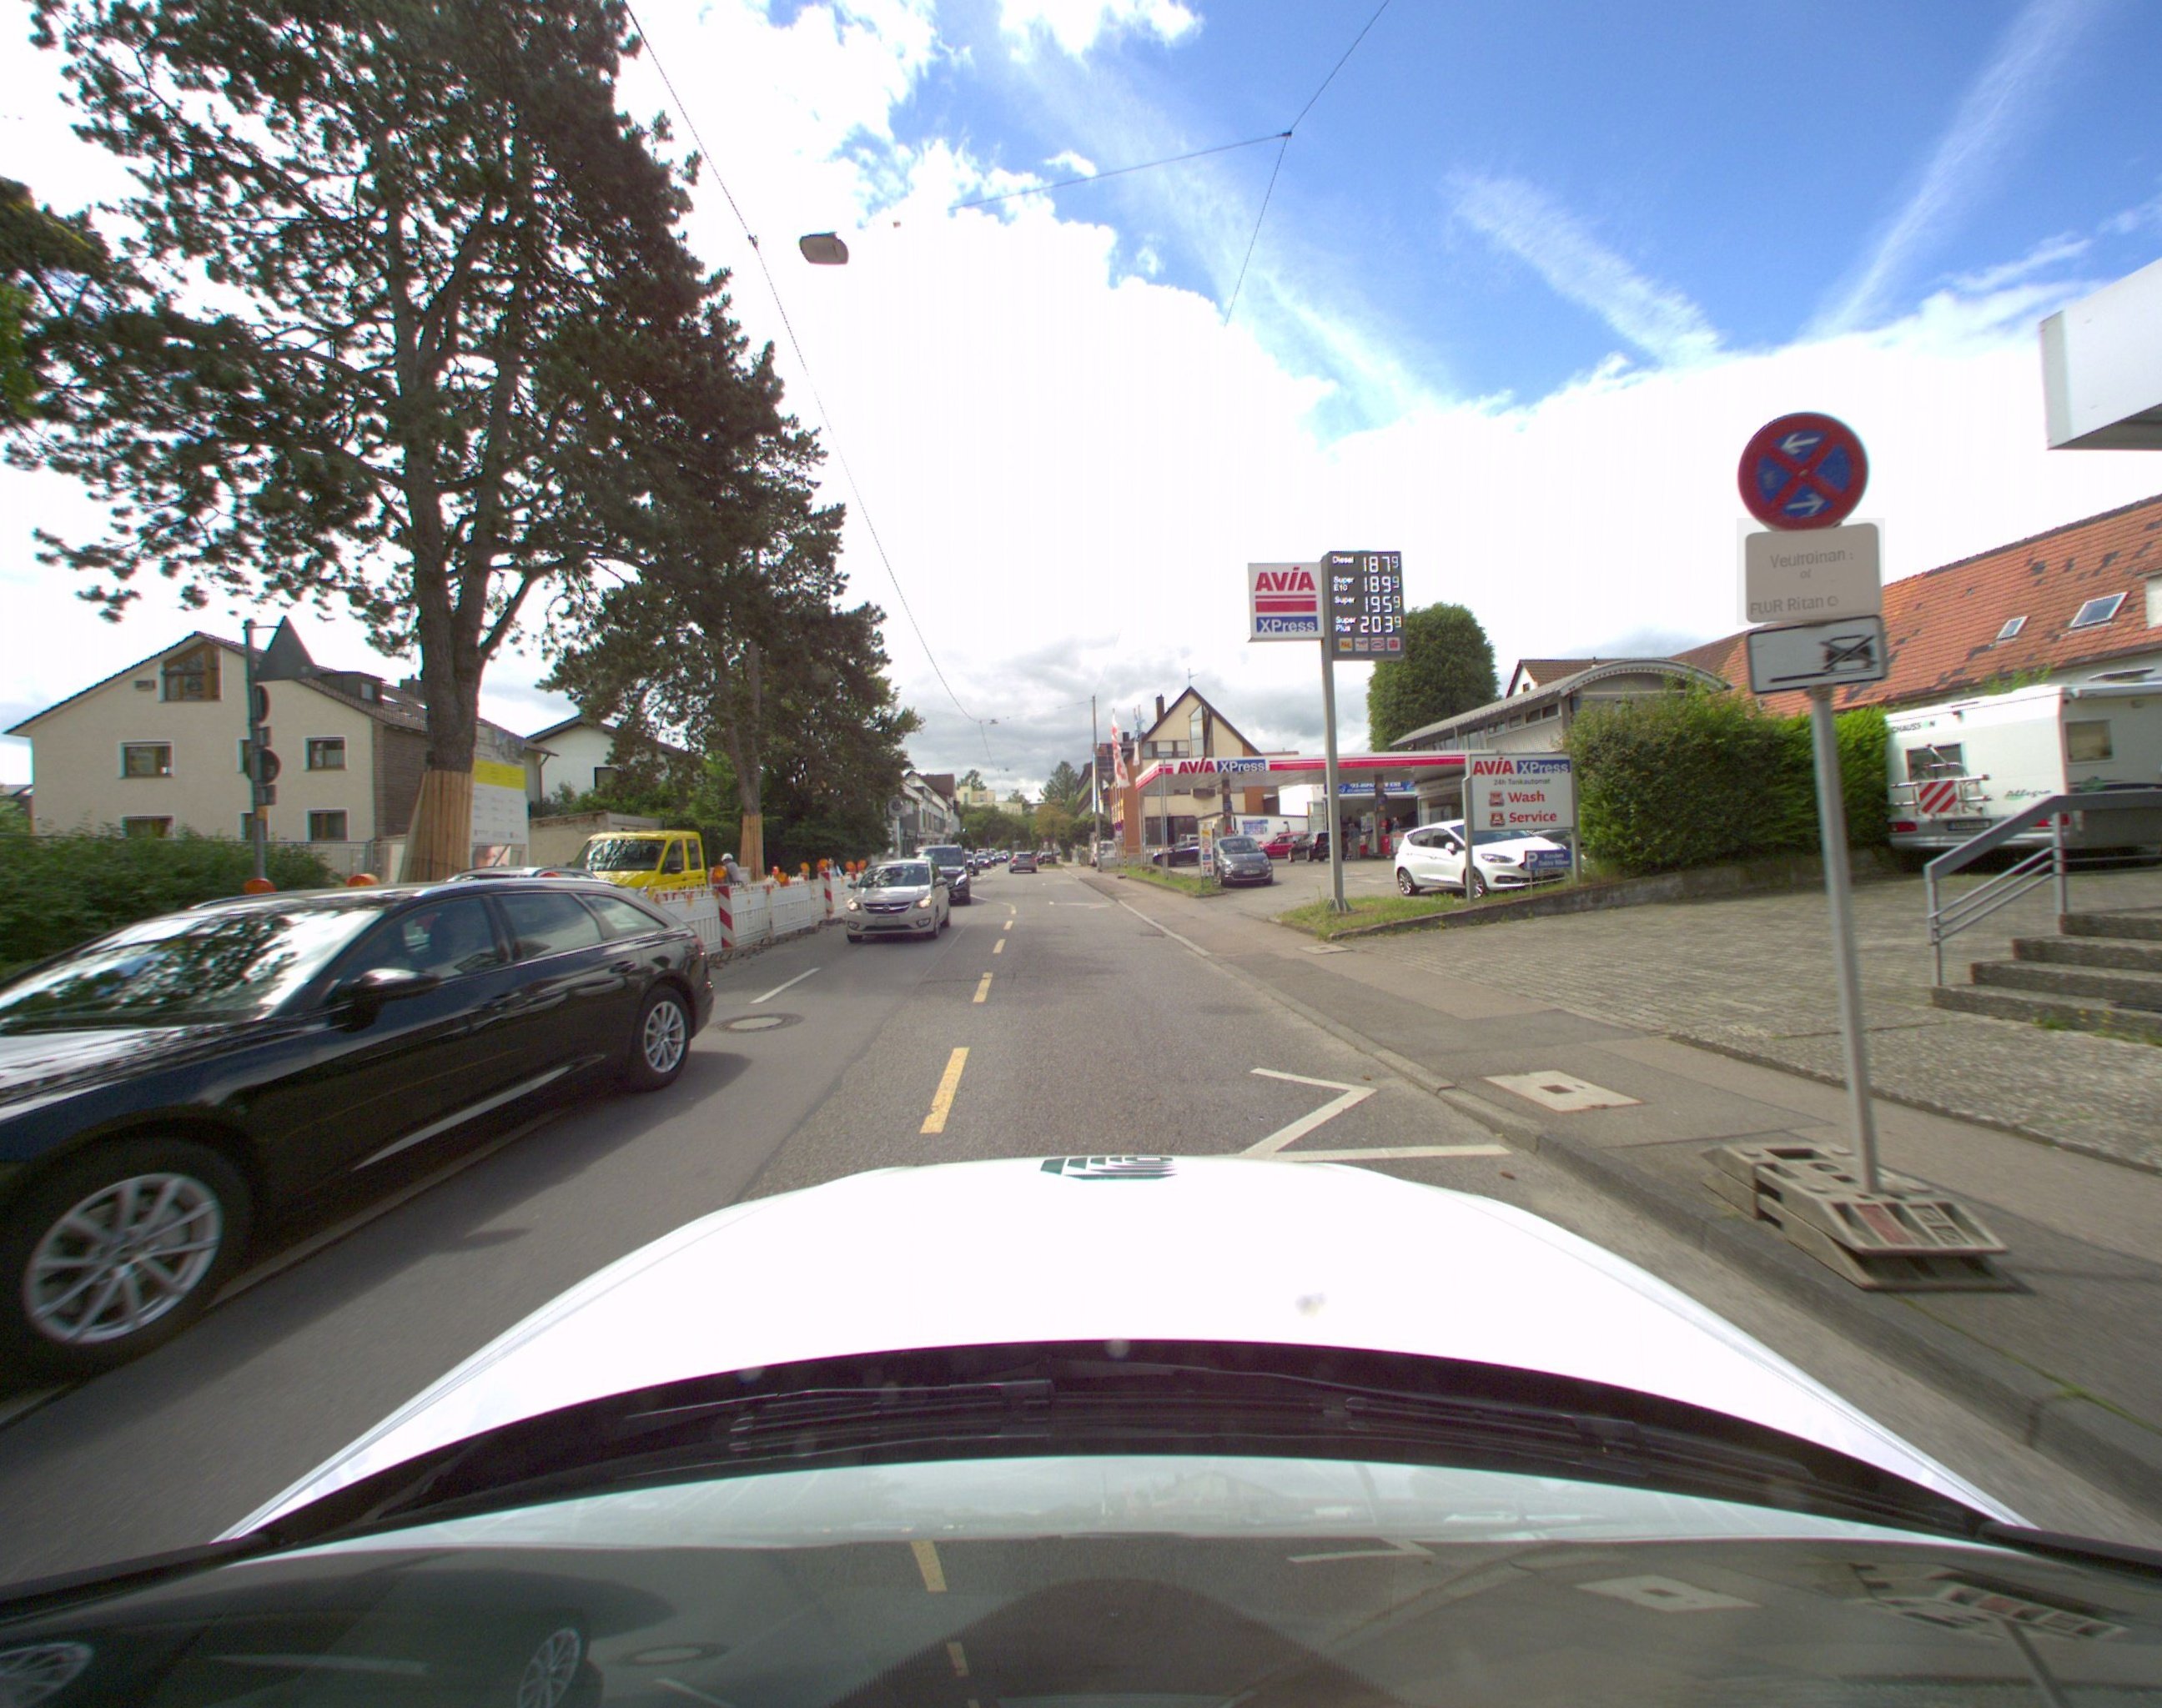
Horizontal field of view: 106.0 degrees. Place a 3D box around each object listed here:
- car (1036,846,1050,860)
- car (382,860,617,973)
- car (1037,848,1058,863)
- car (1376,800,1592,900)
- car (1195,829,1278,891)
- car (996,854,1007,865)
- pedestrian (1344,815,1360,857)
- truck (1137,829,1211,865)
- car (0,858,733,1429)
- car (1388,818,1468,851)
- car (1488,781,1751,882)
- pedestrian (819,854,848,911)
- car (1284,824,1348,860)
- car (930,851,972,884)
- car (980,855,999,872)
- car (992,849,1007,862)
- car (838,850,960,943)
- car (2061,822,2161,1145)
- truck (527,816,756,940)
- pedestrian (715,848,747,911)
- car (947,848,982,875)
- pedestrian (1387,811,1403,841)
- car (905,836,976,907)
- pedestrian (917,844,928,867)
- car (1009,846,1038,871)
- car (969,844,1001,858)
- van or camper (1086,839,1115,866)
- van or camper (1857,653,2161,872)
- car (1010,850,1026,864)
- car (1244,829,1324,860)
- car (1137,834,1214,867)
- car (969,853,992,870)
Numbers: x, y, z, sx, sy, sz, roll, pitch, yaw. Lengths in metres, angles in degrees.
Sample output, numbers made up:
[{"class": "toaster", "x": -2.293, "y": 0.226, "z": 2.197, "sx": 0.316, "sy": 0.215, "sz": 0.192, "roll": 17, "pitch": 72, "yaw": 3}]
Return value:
[{"class": "car", "x": -4.833, "y": -0.070, "z": 104.178, "sx": 1.685, "sy": 1.666, "sz": 4.458, "roll": -3, "pitch": 0, "yaw": -2}, {"class": "car", "x": -9.177, "y": 0.890, "z": 13.230, "sx": 1.623, "sy": 1.508, "sz": 3.572, "roll": -1, "pitch": 0, "yaw": -9}, {"class": "car", "x": -3.499, "y": 0.172, "z": 84.730, "sx": 1.980, "sy": 1.448, "sz": 4.745, "roll": -3, "pitch": 0, "yaw": -4}, {"class": "car", "x": 7.598, "y": -0.042, "z": 15.887, "sx": 1.633, "sy": 1.528, "sz": 4.194, "roll": -6, "pitch": 0, "yaw": -7}, {"class": "car", "x": 4.856, "y": 0.162, "z": 25.969, "sx": 1.611, "sy": 1.595, "sz": 4.158, "roll": -8, "pitch": 0, "yaw": -1}, {"class": "car", "x": -12.311, "y": 0.799, "z": 126.385, "sx": 1.687, "sy": 1.579, "sz": 3.793, "roll": -2, "pitch": 0, "yaw": -5}, {"class": "pedestrian", "x": 12.807, "y": -0.844, "z": 38.462, "sx": 0.579, "sy": 1.935, "sz": 0.544, "roll": -2, "pitch": -1, "yaw": 33}, {"class": "truck", "x": 6.835, "y": -0.571, "z": 60.072, "sx": 5.078, "sy": 2.457, "sz": 2.354, "roll": -2, "pitch": 1, "yaw": -4}, {"class": "car", "x": -3.762, "y": 0.849, "z": 4.062, "sx": 1.811, "sy": 1.523, "sz": 4.564, "roll": -4, "pitch": 0, "yaw": 3}, {"class": "car", "x": 19.479, "y": -1.118, "z": 45.788, "sx": 3.733, "sy": 1.440, "sz": 1.620, "roll": -5, "pitch": 4, "yaw": -2}, {"class": "car", "x": 10.309, "y": -0.361, "z": 16.147, "sx": 1.710, "sy": 1.542, "sz": 4.647, "roll": -6, "pitch": 0, "yaw": -5}, {"class": "pedestrian", "x": -7.140, "y": 0.820, "z": 23.488, "sx": 0.564, "sy": 1.601, "sz": 0.540, "roll": -2, "pitch": -1, "yaw": 40}, {"class": "car", "x": 11.440, "y": -0.527, "z": 39.941, "sx": 1.626, "sy": 1.608, "sz": 4.567, "roll": -2, "pitch": -1, "yaw": -2}, {"class": "car", "x": -6.604, "y": 0.641, "z": 41.081, "sx": 1.866, "sy": 1.527, "sz": 4.511, "roll": -3, "pitch": 0, "yaw": -11}, {"class": "car", "x": -10.022, "y": 1.030, "z": 89.156, "sx": 1.828, "sy": 1.630, "sz": 4.314, "roll": -2, "pitch": 1, "yaw": -4}, {"class": "car", "x": -10.817, "y": 0.203, "z": 107.774, "sx": 1.829, "sy": 1.523, "sz": 4.161, "roll": -2, "pitch": 0, "yaw": -6}, {"class": "car", "x": -3.385, "y": 0.742, "z": 15.757, "sx": 1.610, "sy": 1.523, "sz": 3.566, "roll": -3, "pitch": 0, "yaw": -2}, {"class": "car", "x": 5.520, "y": 0.474, "z": 1.504, "sx": 1.783, "sy": 1.316, "sz": 4.471, "roll": -3, "pitch": 0, "yaw": -7}, {"class": "truck", "x": -9.932, "y": 0.497, "z": 19.212, "sx": 2.300, "sy": 2.420, "sz": 6.087, "roll": -1, "pitch": -1, "yaw": -3}, {"class": "pedestrian", "x": -8.846, "y": 0.631, "z": 20.605, "sx": 0.573, "sy": 1.547, "sz": 0.653, "roll": -1, "pitch": -1, "yaw": -9}, {"class": "car", "x": -7.917, "y": 0.494, "z": 55.890, "sx": 1.861, "sy": 1.617, "sz": 4.531, "roll": -3, "pitch": 1, "yaw": -3}, {"class": "pedestrian", "x": 19.527, "y": -1.737, "z": 50.617, "sx": 0.666, "sy": 1.845, "sz": 0.689, "roll": -2, "pitch": -1, "yaw": 42}, {"class": "car", "x": -4.430, "y": 0.472, "z": 25.729, "sx": 1.909, "sy": 1.951, "sz": 4.897, "roll": -3, "pitch": 1, "yaw": -10}, {"class": "pedestrian", "x": -11.714, "y": 0.116, "z": 60.057, "sx": 0.681, "sy": 1.737, "sz": 0.867, "roll": -1, "pitch": -1, "yaw": -5}, {"class": "car", "x": -4.183, "y": 0.376, "z": 58.662, "sx": 1.953, "sy": 1.523, "sz": 4.319, "roll": -1, "pitch": -3, "yaw": -6}, {"class": "car", "x": -17.286, "y": -0.515, "z": 146.737, "sx": 5.174, "sy": 1.993, "sz": 2.117, "roll": -4, "pitch": 0, "yaw": 14}, {"class": "van or camper", "x": 1.524, "y": -0.087, "z": 65.117, "sx": 1.864, "sy": 2.032, "sz": 4.539, "roll": -1, "pitch": -1, "yaw": -5}, {"class": "van or camper", "x": 16.162, "y": -1.508, "z": 12.719, "sx": 5.955, "sy": 2.850, "sz": 2.525, "roll": -6, "pitch": 1, "yaw": -7}, {"class": "car", "x": -7.370, "y": 0.383, "z": 95.247, "sx": 1.613, "sy": 1.523, "sz": 3.561, "roll": -2, "pitch": 0, "yaw": -6}, {"class": "car", "x": 12.153, "y": -0.552, "z": 48.783, "sx": 4.559, "sy": 1.717, "sz": 1.833, "roll": -1, "pitch": -1, "yaw": 16}, {"class": "car", "x": 5.760, "y": -0.225, "z": 49.991, "sx": 4.263, "sy": 1.630, "sz": 1.646, "roll": -5, "pitch": 1, "yaw": 31}, {"class": "car", "x": -9.242, "y": 0.643, "z": 75.170, "sx": 1.736, "sy": 1.429, "sz": 4.518, "roll": -3, "pitch": 0, "yaw": -3}]
